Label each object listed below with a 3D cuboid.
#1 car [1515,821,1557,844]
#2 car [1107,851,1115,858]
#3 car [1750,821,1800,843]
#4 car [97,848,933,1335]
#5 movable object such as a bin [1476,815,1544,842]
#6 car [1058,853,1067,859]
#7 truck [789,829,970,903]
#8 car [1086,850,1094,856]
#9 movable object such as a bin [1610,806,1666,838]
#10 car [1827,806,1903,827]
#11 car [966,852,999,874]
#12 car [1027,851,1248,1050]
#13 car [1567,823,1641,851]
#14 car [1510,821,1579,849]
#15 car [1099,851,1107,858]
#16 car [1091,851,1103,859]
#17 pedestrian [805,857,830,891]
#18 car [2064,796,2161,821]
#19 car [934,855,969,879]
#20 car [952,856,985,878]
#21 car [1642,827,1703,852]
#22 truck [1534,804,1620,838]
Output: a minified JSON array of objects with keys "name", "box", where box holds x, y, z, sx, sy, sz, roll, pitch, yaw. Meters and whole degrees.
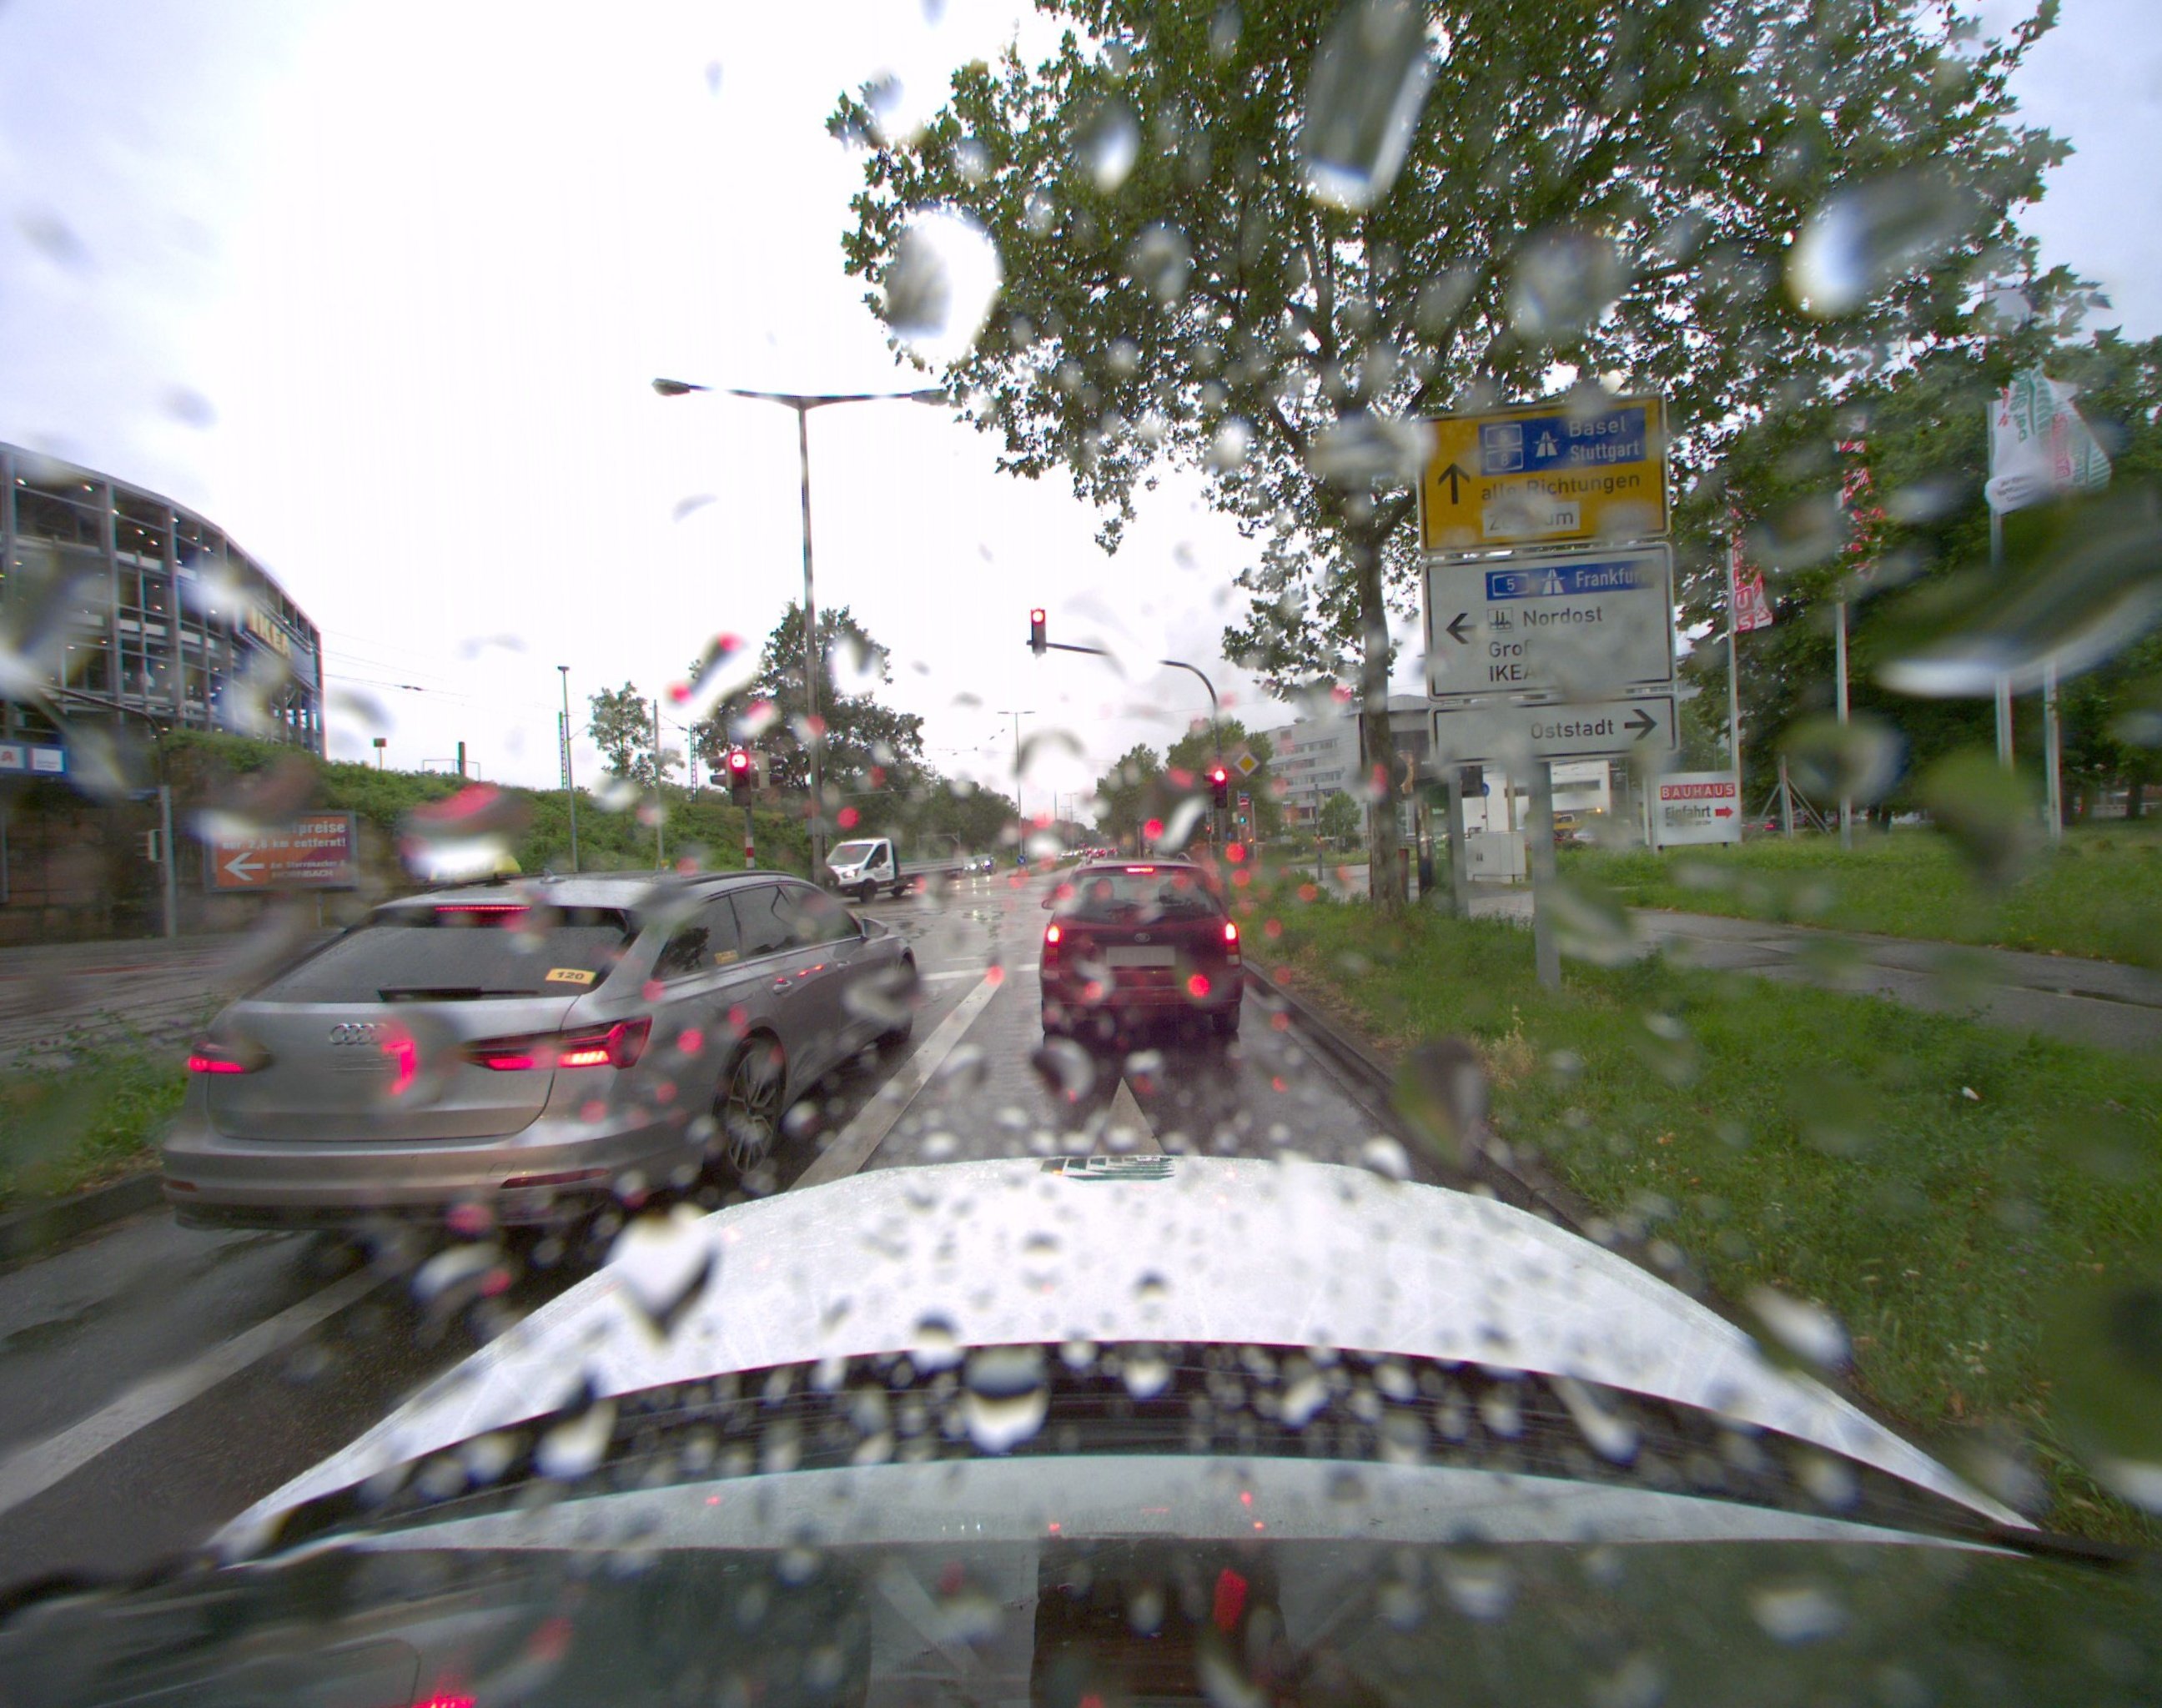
[{"name":"car","box":[43.598,-2.081,77.995,4.018,2.013,1.978,-3,0,-36]},{"name":"car","box":[7.095,0.076,190.497,1.664,1.528,3.849,-3,0,3]},{"name":"car","box":[56.098,-1.798,65.784,4.645,1.586,1.907,-2,-1,-34]},{"name":"car","box":[-2.282,0.761,5.066,1.763,1.574,4.822,0,0,1]},{"name":"movable object such as a bin","box":[53.777,-3.172,102.174,3.342,2.995,6.650,-3,0,-34]},{"name":"car","box":[-4.912,0.575,216.969,2.084,1.528,4.197,-3,0,4]},{"name":"truck","box":[-7.151,0.340,30.034,2.451,2.365,6.909,-3,0,27]},{"name":"car","box":[2.185,-0.284,202.404,1.691,1.528,3.849,-3,0,3]},{"name":"movable object such as a bin","box":[66.852,-3.834,97.662,6.347,3.507,3.293,-3,0,-34]},{"name":"car","box":[71.255,-3.434,74.124,4.573,1.586,1.936,-3,-1,18]},{"name":"car","box":[-8.606,0.761,71.807,2.058,1.819,5.542,-3,0,1]},{"name":"car","box":[0.453,0.714,7.924,1.636,1.465,3.733,0,0,1]},{"name":"car","box":[32.257,-1.064,50.197,4.847,1.491,1.908,-2,-1,-32]},{"name":"car","box":[26.076,-1.081,45.809,3.828,1.491,1.662,-2,0,-30]},{"name":"car","box":[5.253,0.097,194.312,1.691,1.528,3.849,-3,0,3]},{"name":"car","box":[3.152,0.267,163.316,2.138,1.528,4.197,-3,0,4]},{"name":"pedestrian","box":[-14.946,1.106,46.215,1.102,1.847,1.126,-3,0,-10]},{"name":"car","box":[88.543,-3.900,69.320,2.286,1.731,5.899,-3,0,-33]},{"name":"car","box":[-8.943,0.873,56.536,1.632,1.473,3.966,-3,0,1]},{"name":"car","box":[-8.740,0.982,63.619,1.756,1.586,4.813,-3,-1,0]},{"name":"car","box":[41.126,-1.017,56.612,4.644,1.586,1.907,-3,0,-34]},{"name":"truck","box":[57.976,-3.823,95.392,3.342,3.507,7.806,-3,0,-33]}]
